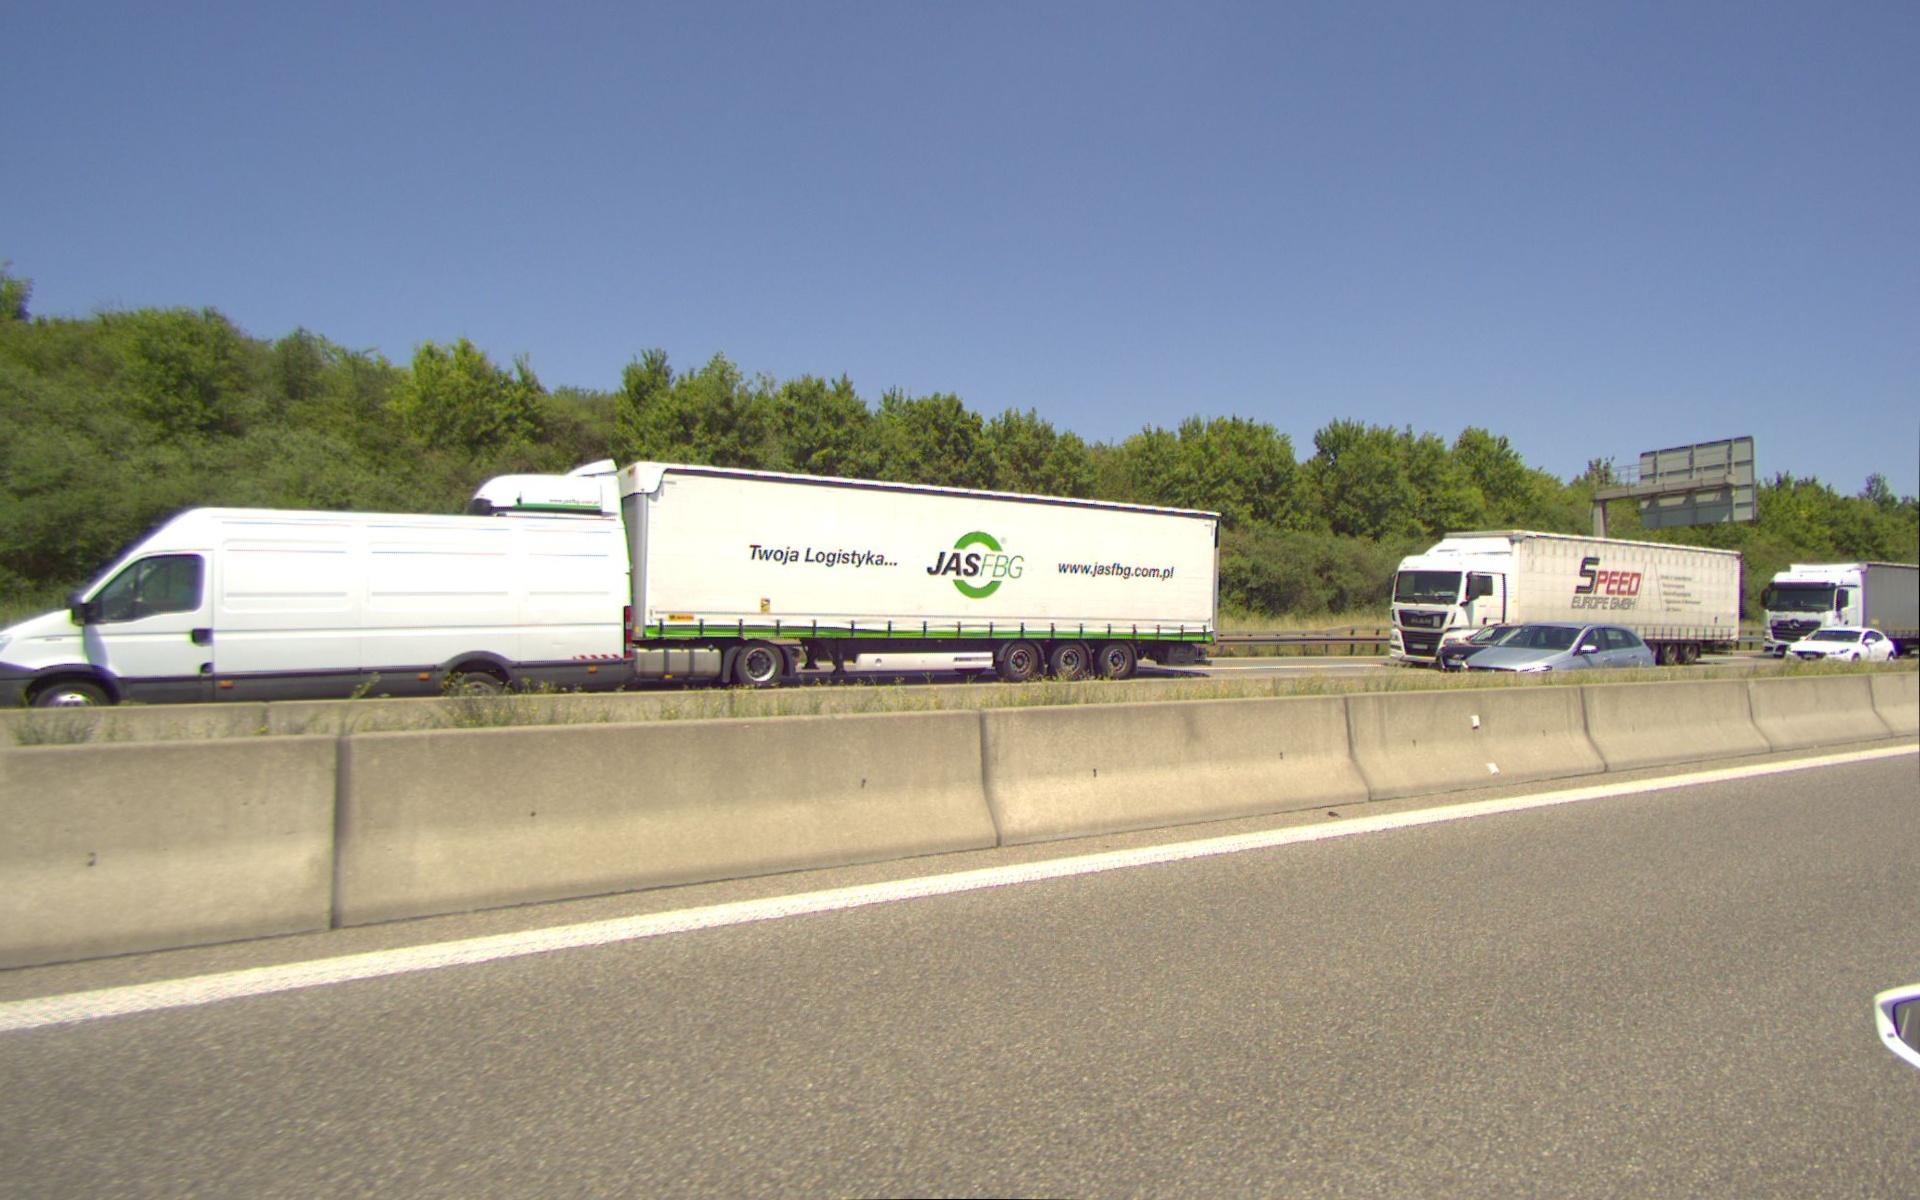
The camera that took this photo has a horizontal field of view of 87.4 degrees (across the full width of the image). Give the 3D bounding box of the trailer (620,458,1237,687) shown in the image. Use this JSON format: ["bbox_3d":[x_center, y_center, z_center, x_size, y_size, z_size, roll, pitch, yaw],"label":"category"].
[{"bbox_3d":[-0.028,-0.331,21.937,13.711,3.924,2.890,1,0,-30],"label":"trailer"}]

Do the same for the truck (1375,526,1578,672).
[{"bbox_3d":[15.941,-0.005,30.936,6.027,4.097,2.742,1,0,-30],"label":"truck"}]

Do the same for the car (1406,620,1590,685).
[{"bbox_3d":[13.738,1.284,25.557,4.867,1.453,1.867,1,0,-30],"label":"car"}]

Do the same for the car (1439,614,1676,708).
[{"bbox_3d":[11.517,1.108,19.311,4.541,1.599,1.984,1,-1,-30],"label":"car"}]

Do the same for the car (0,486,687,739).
[{"bbox_3d":[-7.490,0.198,12.836,7.483,2.608,1.888,1,0,-30],"label":"car"}]

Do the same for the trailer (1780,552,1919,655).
[{"bbox_3d":[42.830,0.263,46.124,14.019,4.262,2.969,1,0,-29],"label":"trailer"}]

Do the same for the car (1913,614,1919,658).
[{"bbox_3d":[40.800,1.476,40.636,4.734,1.738,1.984,1,-1,-30],"label":"car"}]

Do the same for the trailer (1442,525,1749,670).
[{"bbox_3d":[22.261,0.006,34.653,13.701,4.335,2.798,1,0,-30],"label":"trailer"}]

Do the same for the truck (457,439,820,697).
[{"bbox_3d":[-5.893,-0.443,18.544,5.903,4.060,2.835,1,0,-30],"label":"truck"}]

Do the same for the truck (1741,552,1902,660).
[{"bbox_3d":[36.529,0.276,42.586,6.521,4.266,2.950,1,0,-28],"label":"truck"}]

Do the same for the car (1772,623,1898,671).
[{"bbox_3d":[29.401,1.571,33.722,4.354,1.494,1.872,2,-1,-30],"label":"car"}]
